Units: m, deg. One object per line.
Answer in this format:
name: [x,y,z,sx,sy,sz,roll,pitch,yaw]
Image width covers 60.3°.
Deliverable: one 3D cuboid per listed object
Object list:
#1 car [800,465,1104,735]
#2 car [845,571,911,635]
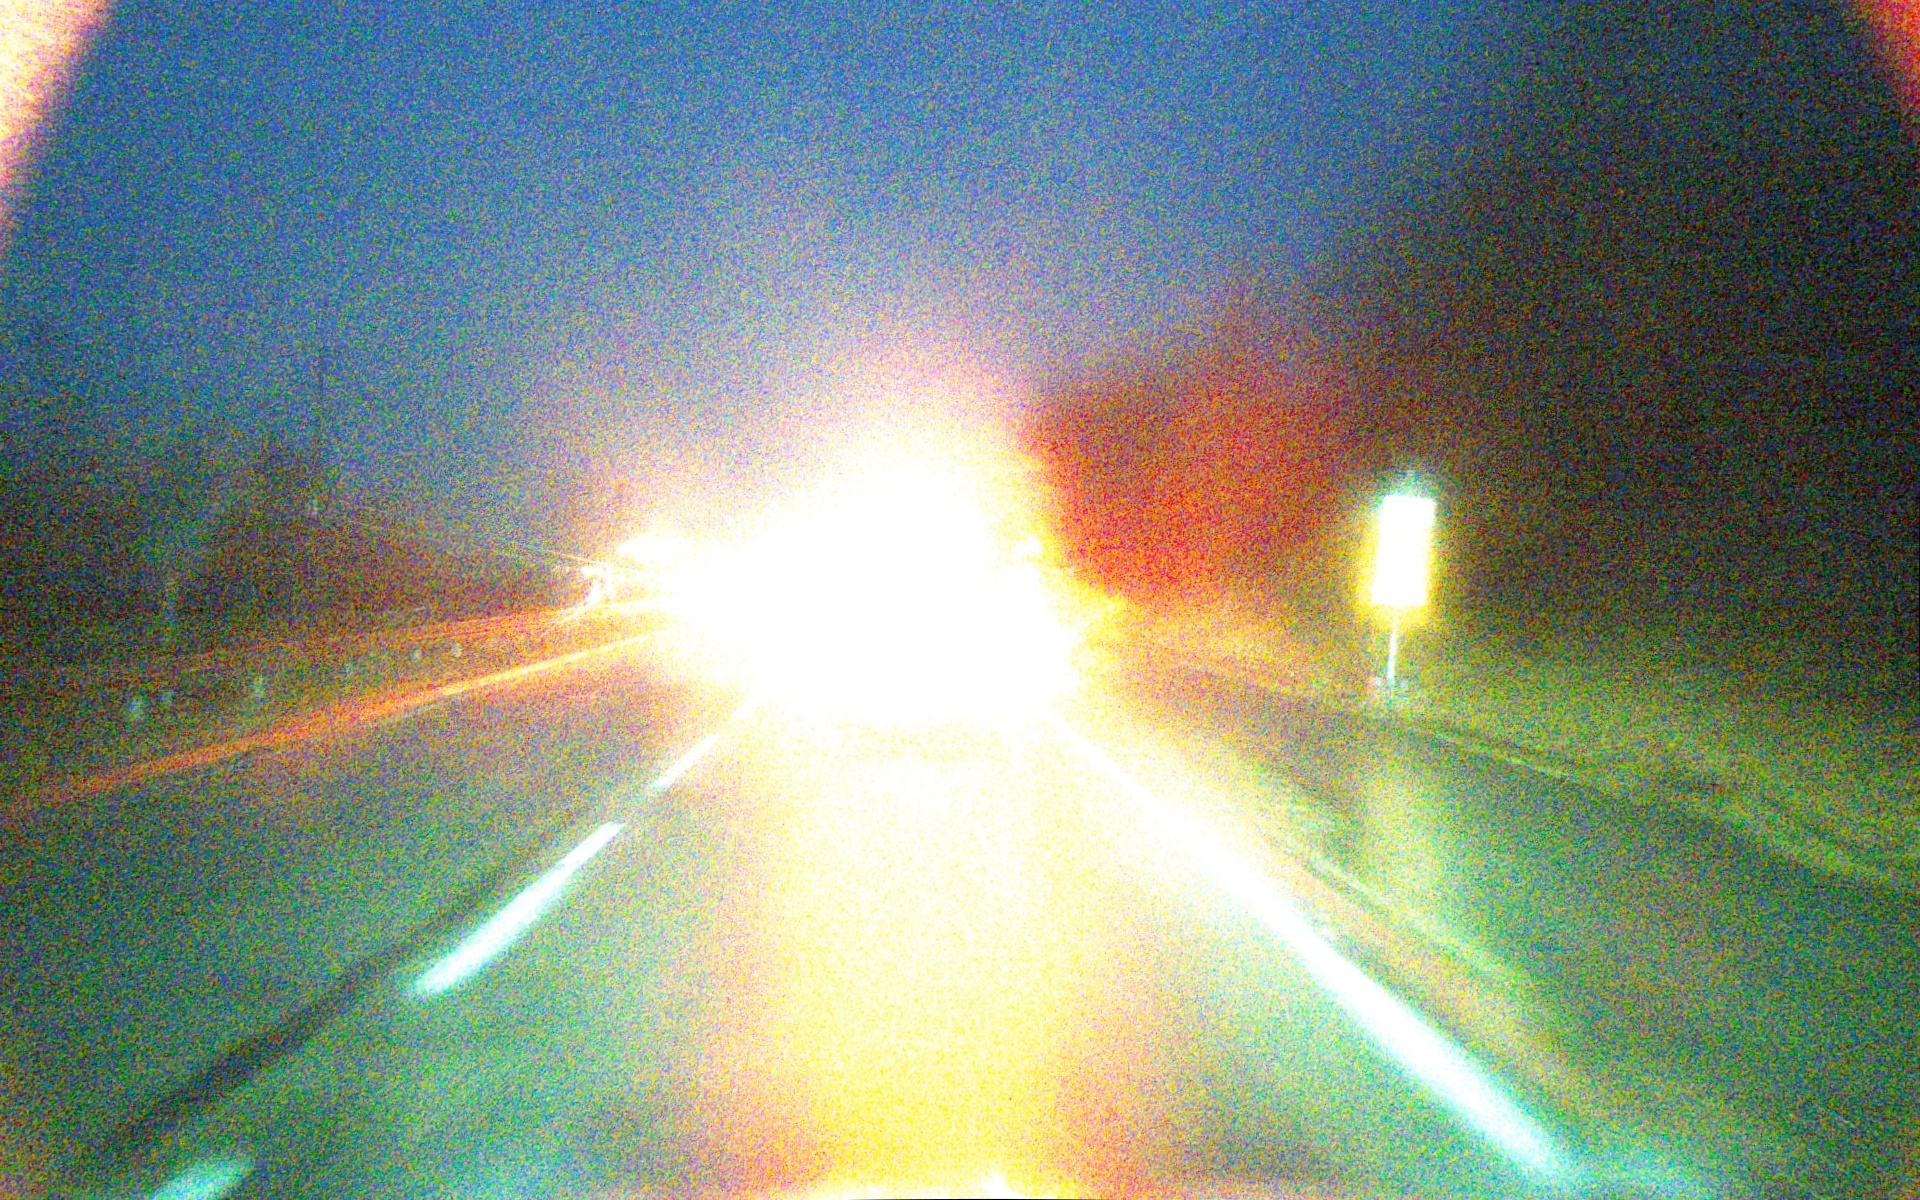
car: [-0.203,-0.040,17.635,2.661,2.348,6.097,1,1,-3]
car: [-2.576,0.066,52.706,1.953,1.948,3.999,0,0,-1]
